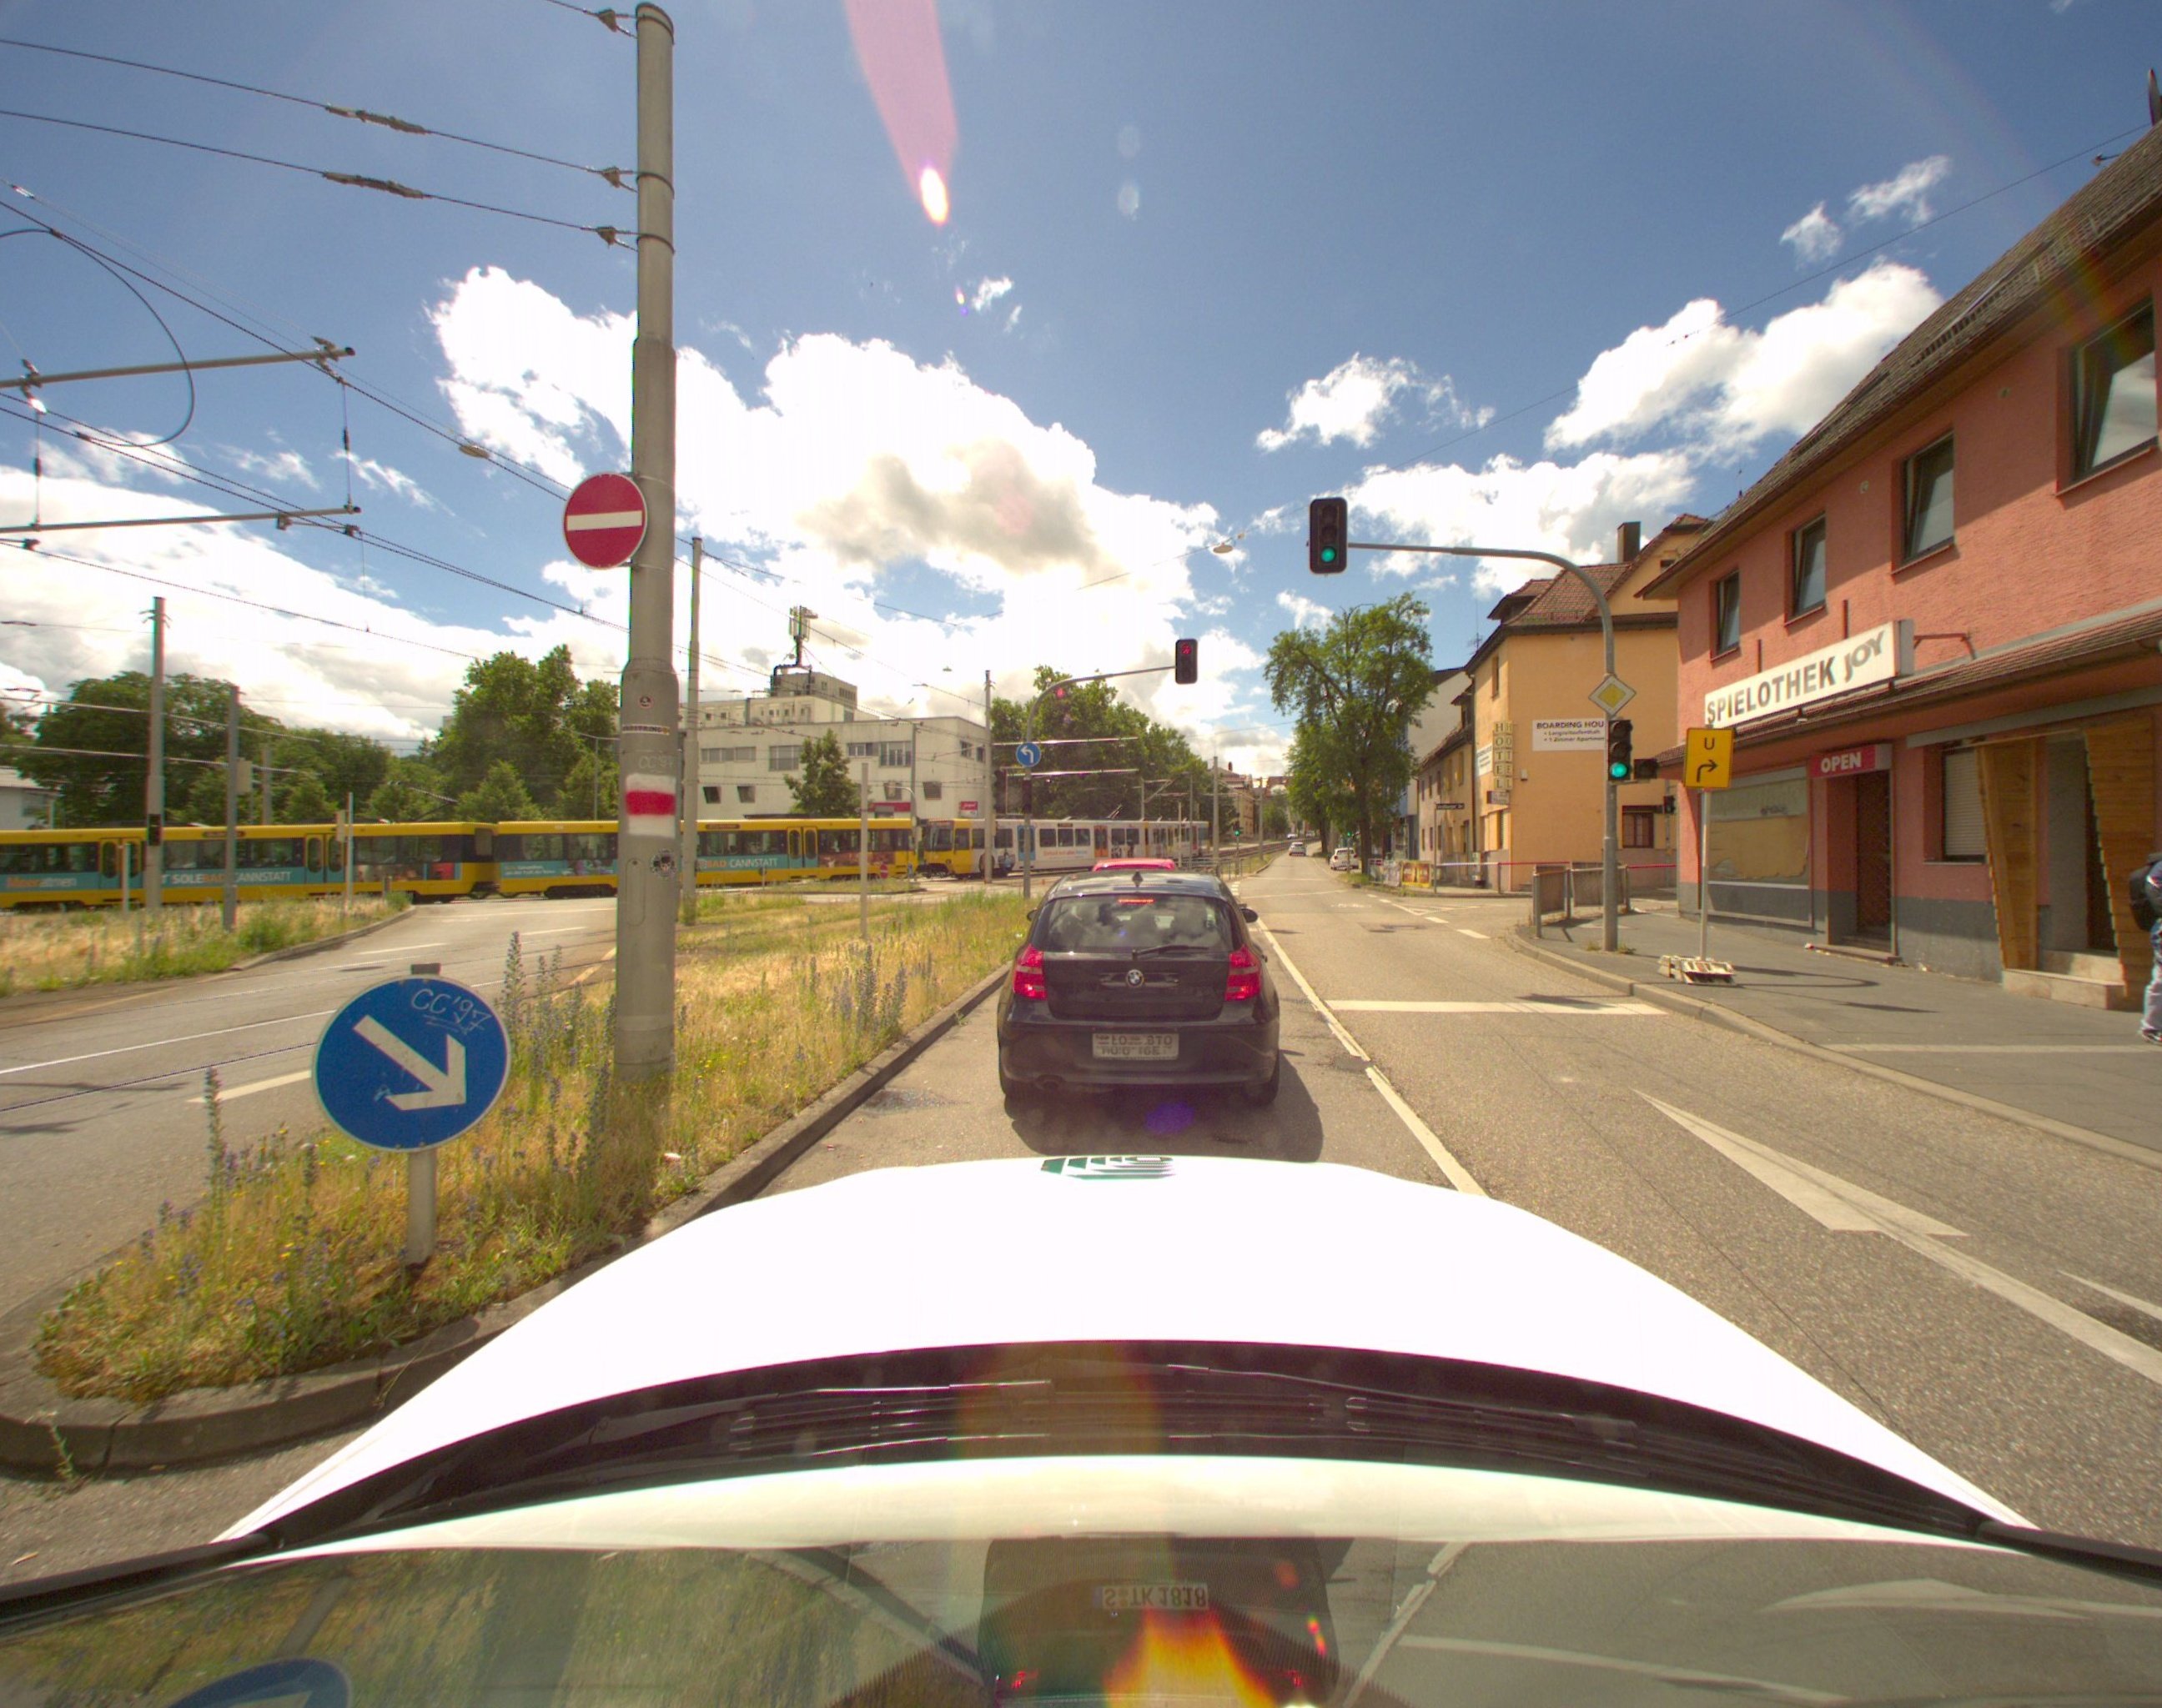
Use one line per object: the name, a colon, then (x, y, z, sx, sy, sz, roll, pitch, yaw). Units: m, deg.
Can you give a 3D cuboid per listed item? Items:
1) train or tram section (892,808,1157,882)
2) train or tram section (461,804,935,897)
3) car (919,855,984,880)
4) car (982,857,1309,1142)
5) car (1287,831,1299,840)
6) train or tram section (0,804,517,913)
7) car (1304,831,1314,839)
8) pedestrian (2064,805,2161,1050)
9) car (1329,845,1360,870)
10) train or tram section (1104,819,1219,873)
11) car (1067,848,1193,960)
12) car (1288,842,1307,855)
train or tram section: (-2.508, -0.523, 52.273, 3.713, 3.879, 20.765, -3, -1, 39)
train or tram section: (-17.528, -0.287, 40.047, 20.201, 3.829, 3.726, -1, -1, -29)
car: (-9.098, 0.950, 57.382, 4.192, 1.585, 1.836, -1, -1, -42)
car: (0.335, 0.798, 6.314, 1.696, 1.452, 3.999, -2, -1, 0)
car: (48.666, -4.238, 186.908, 1.976, 2.014, 4.022, -2, -1, 23)
train or tram section: (-35.093, 0.184, 34.444, 18.813, 3.919, 3.753, -2, -1, -7)
car: (57.705, -4.777, 206.011, 1.976, 2.014, 4.022, -2, -1, 23)
pedestrian: (7.666, 0.475, 5.646, 0.759, 1.642, 0.781, -2, 1, 13)
car: (17.966, 0.226, 55.682, 1.774, 1.596, 4.016, -2, -1, 15)
train or tram section: (7.442, -0.539, 69.200, 3.716, 3.814, 20.162, -2, -1, 23)
car: (0.925, 0.698, 12.898, 1.616, 1.473, 4.009, -2, -1, 8)
car: (24.119, -0.615, 90.694, 1.803, 1.468, 4.013, -1, 0, 12)
